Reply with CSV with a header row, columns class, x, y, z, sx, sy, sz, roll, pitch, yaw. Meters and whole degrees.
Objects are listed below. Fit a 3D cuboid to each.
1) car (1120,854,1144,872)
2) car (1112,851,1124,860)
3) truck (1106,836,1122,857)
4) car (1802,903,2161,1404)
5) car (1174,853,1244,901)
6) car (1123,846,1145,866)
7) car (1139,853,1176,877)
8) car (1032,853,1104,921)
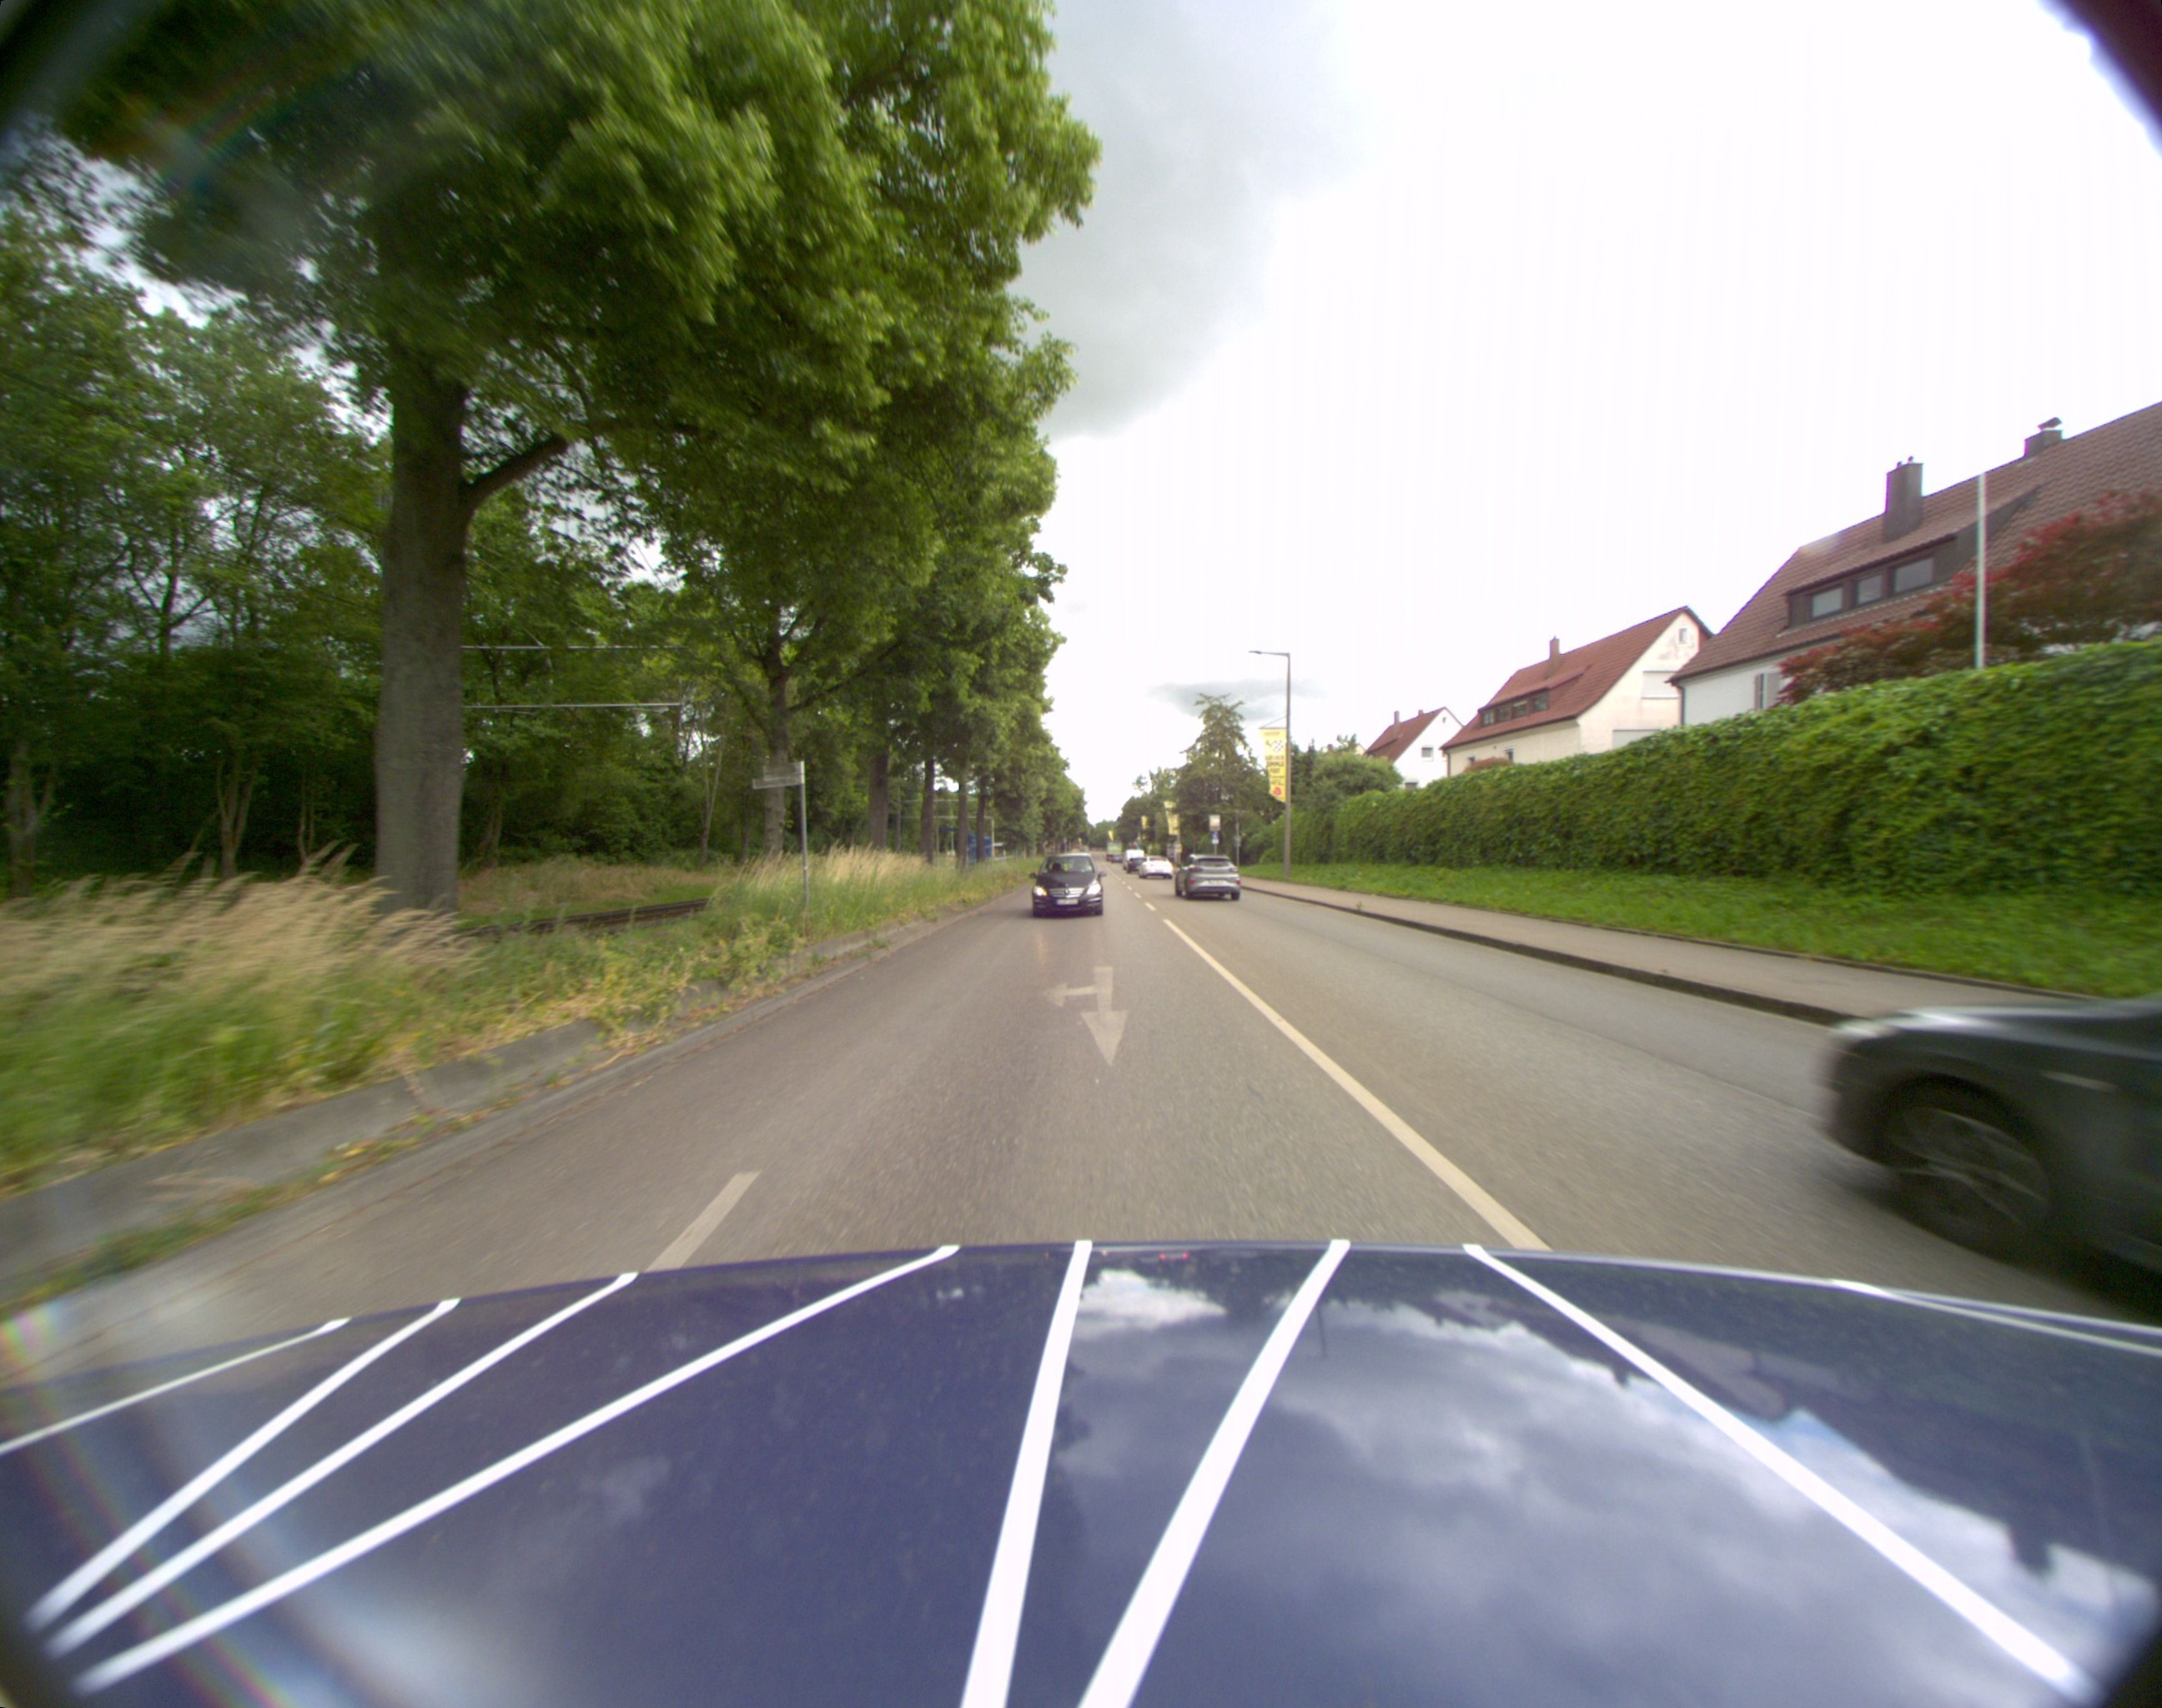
class,x,y,z,sx,sy,sz,roll,pitch,yaw
car,4.061,0.687,61.175,1.655,1.340,4.477,0,0,1
car,6.050,0.229,123.489,1.737,1.367,4.239,-1,0,0
truck,6.437,-1.490,149.866,2.556,4.020,10.618,1,1,0
car,4.177,0.971,1.416,1.732,1.456,4.153,1,0,1
car,4.332,0.737,26.292,1.756,1.510,4.000,0,0,0
car,5.294,0.215,75.984,1.911,1.921,4.910,0,0,0
car,4.791,0.653,48.120,1.891,1.375,4.490,1,0,0
car,-0.299,0.801,20.570,1.683,1.565,4.482,-2,1,0
